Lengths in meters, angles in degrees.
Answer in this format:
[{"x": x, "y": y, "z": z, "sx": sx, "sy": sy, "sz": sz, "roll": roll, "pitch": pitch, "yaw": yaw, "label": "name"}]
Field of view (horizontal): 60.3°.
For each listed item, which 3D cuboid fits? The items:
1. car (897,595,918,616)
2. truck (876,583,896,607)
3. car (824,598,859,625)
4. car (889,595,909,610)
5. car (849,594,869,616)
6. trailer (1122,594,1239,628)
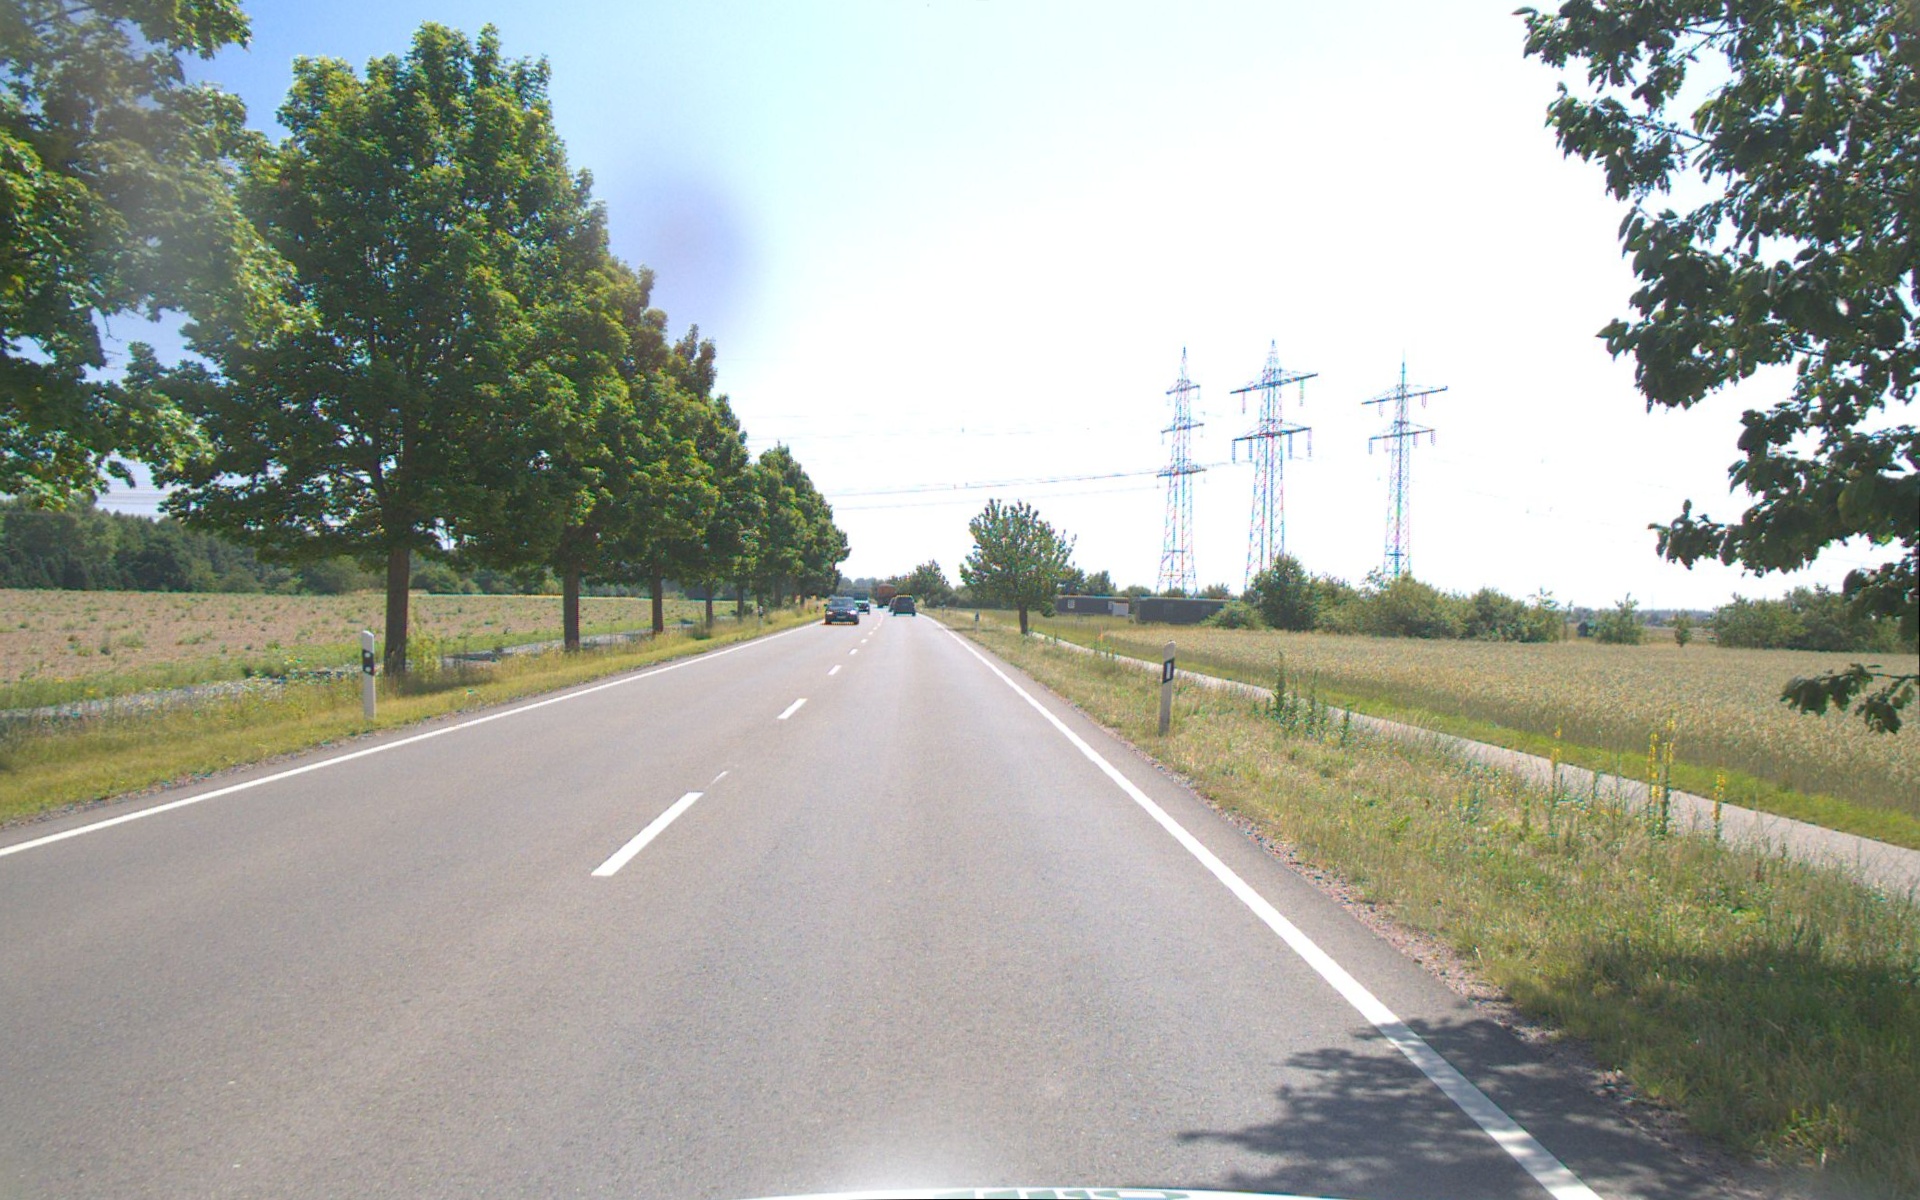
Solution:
[{"x": -4.389, "y": 0.442, "z": 137.761, "sx": 1.680, "sy": 1.723, "sz": 3.986, "roll": 1, "pitch": 0, "yaw": -3, "label": "car"}, {"x": -10.343, "y": -0.654, "z": 230.442, "sx": 2.325, "sy": 3.195, "sz": 8.736, "roll": 1, "pitch": 0, "yaw": -6, "label": "truck"}, {"x": -6.641, "y": 0.646, "z": 93.083, "sx": 1.785, "sy": 1.445, "sz": 4.587, "roll": 1, "pitch": 0, "yaw": -2, "label": "car"}, {"x": -6.322, "y": 0.294, "z": 171.753, "sx": 1.815, "sy": 1.549, "sz": 3.995, "roll": 1, "pitch": 0, "yaw": -5, "label": "car"}, {"x": -8.989, "y": 0.418, "z": 146.764, "sx": 1.647, "sy": 1.881, "sz": 3.998, "roll": 1, "pitch": 0, "yaw": -2, "label": "car"}, {"x": 25.894, "y": 1.277, "z": 194.314, "sx": 13.246, "sy": 3.536, "sz": 3.273, "roll": 2, "pitch": 0, "yaw": -5, "label": "trailer"}]
